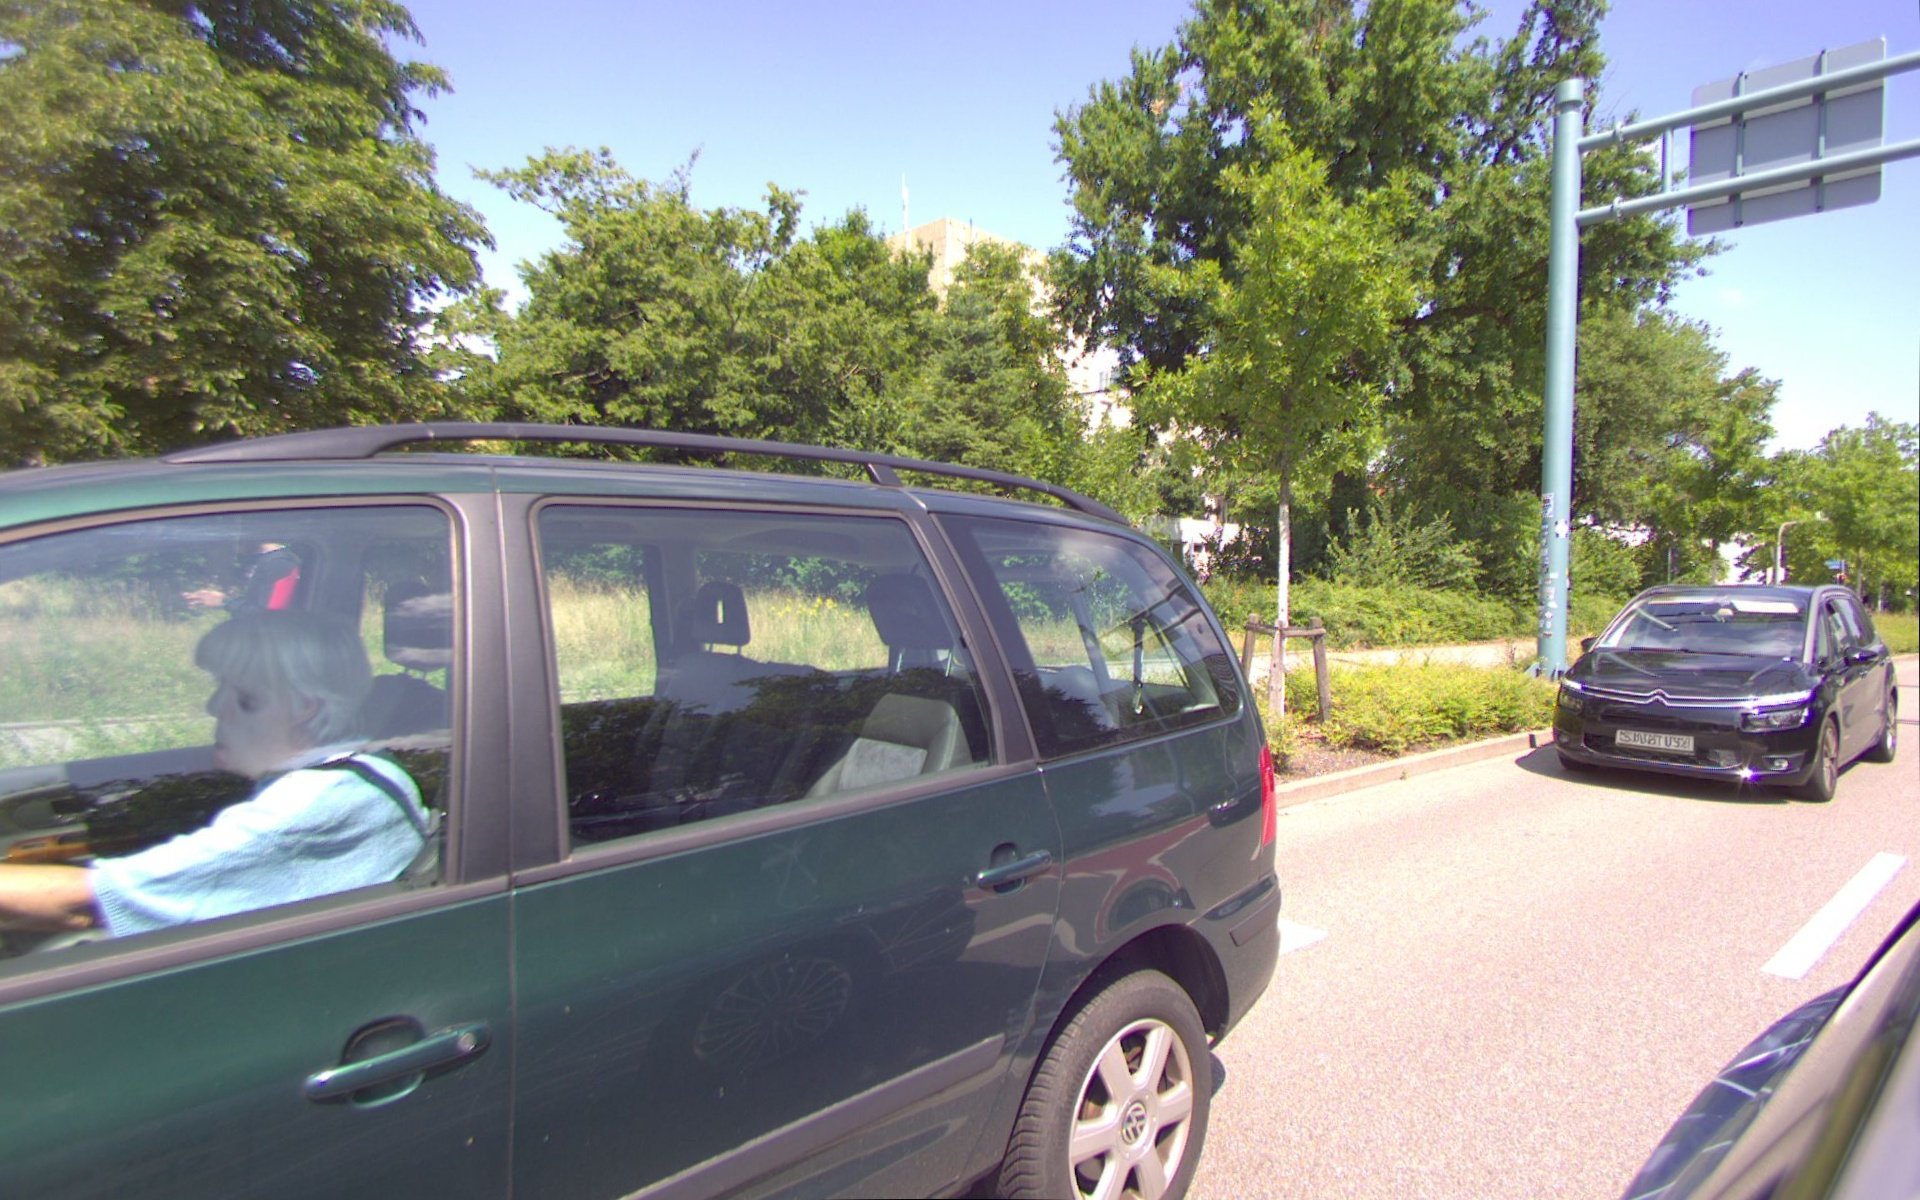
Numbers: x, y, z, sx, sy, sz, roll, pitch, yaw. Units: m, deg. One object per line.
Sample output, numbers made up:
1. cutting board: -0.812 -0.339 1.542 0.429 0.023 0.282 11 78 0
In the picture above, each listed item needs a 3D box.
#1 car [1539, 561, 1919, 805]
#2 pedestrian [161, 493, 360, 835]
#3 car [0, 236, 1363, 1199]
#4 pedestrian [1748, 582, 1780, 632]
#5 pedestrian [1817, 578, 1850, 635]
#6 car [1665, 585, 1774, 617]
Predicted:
1. car: 6.904 0.568 8.889 4.400 1.628 1.815 1 -1 -41
2. pedestrian: -3.797 0.315 5.566 0.799 1.705 0.762 1 1 -29
3. car: -1.131 0.527 1.965 4.315 1.737 1.804 0 -1 -41
4. pedestrian: 33.950 0.280 42.758 0.838 2.063 0.893 1 0 27
5. pedestrian: 27.978 0.202 32.408 0.870 1.787 0.639 1 1 -40
6. car: 40.793 0.063 54.431 1.788 1.628 4.466 1 -1 -45
